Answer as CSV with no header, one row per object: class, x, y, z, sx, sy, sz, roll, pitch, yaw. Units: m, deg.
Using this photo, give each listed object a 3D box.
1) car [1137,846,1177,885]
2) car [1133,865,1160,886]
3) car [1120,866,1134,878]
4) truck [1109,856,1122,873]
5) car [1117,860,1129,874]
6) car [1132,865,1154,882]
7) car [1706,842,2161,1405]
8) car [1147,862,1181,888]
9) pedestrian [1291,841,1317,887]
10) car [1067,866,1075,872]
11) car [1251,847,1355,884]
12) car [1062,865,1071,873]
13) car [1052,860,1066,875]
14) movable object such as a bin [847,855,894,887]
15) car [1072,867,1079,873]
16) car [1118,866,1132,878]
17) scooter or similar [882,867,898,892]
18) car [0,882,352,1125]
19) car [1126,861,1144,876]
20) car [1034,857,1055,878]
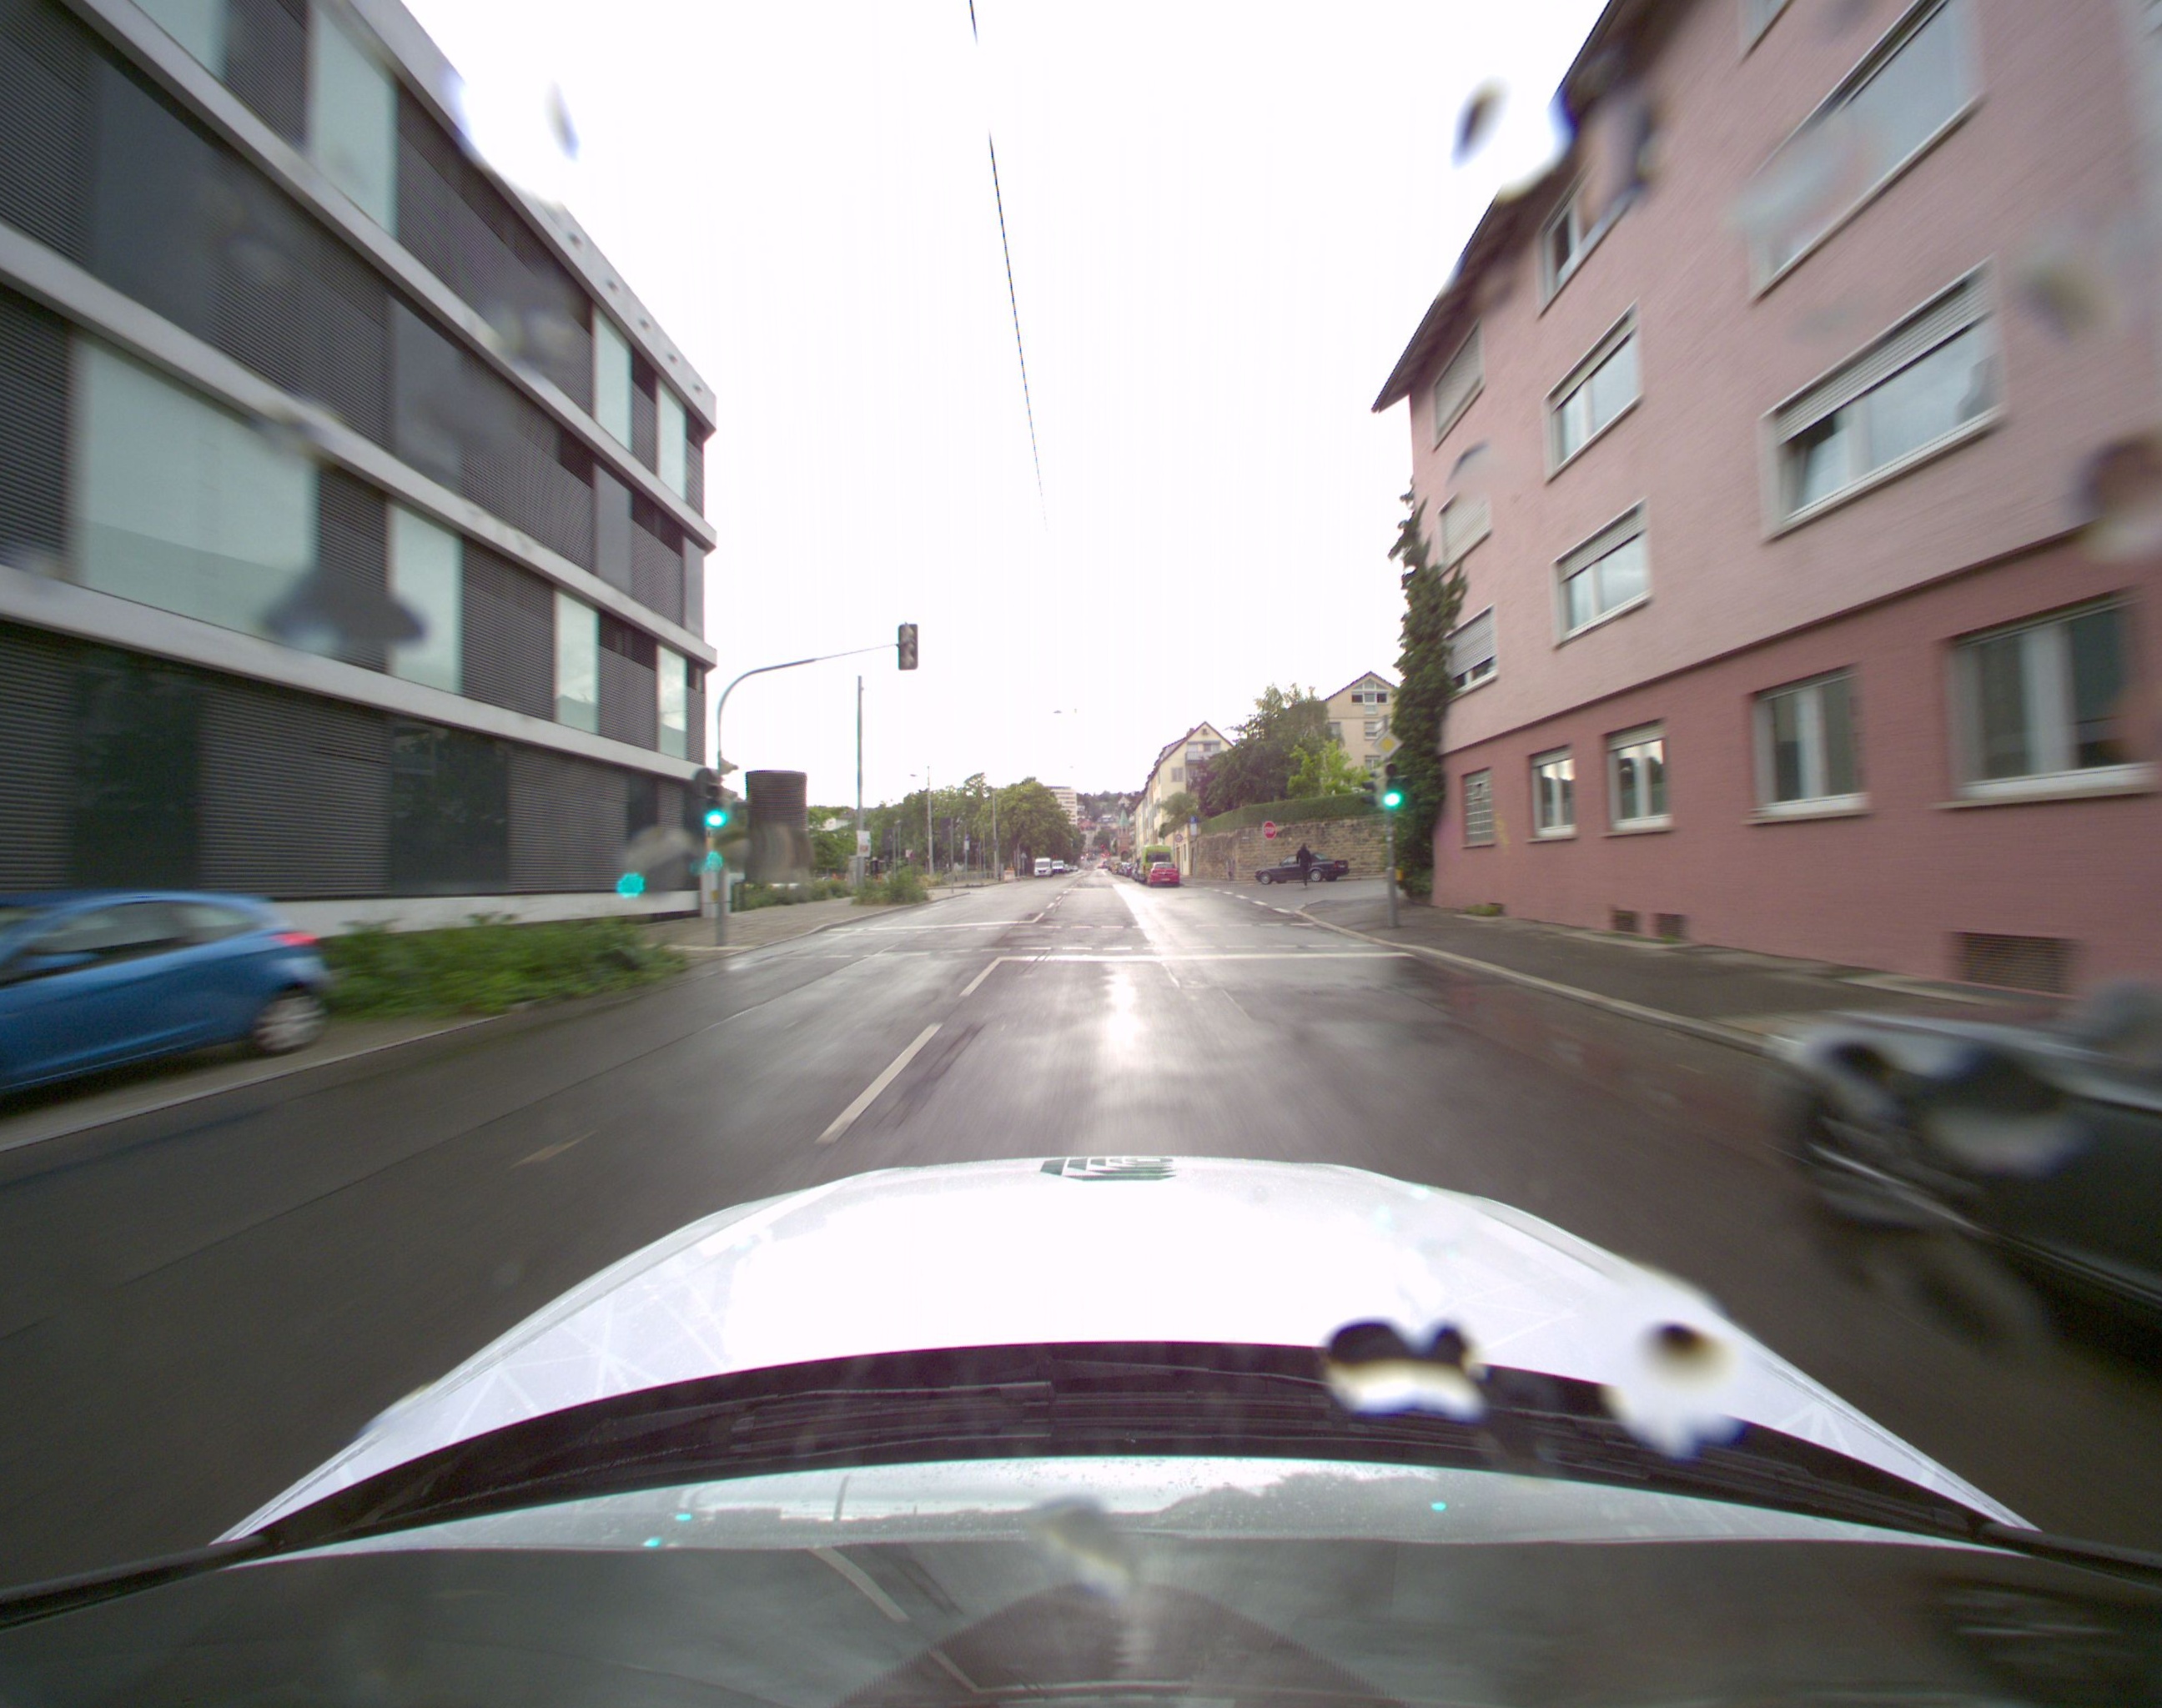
car,4.992,0.733,54.166,2.197,2.463,6.081,0,-1,1
car,4.798,1.554,59.995,1.683,1.454,4.235,0,-1,0
car,5.712,2.184,101.567,1.553,1.454,3.759,0,-1,0
truck,6.927,2.078,162.633,2.460,3.172,7.037,-2,-1,2
car,6.902,2.155,134.114,1.710,2.238,4.000,0,-1,0
car,5.479,1.708,72.243,1.683,1.454,4.235,0,-1,0
car,3.849,0.726,1.550,1.787,1.520,4.510,-2,0,-1
car,4.762,1.202,47.350,1.714,1.421,4.205,0,-1,2
pedestrian,8.584,0.369,31.377,0.720,1.715,0.905,-3,-1,2
car,-2.444,3.679,198.935,1.798,1.451,4.655,-2,-2,-1
car,10.178,0.542,37.606,4.223,1.393,1.763,-6,-3,43
car,-2.799,2.909,158.331,1.677,1.399,3.909,-3,-2,0
car,-3.832,2.349,142.521,2.004,2.487,5.985,-3,-1,2
movable object such as a bin,-16.854,1.372,64.995,1.679,2.459,5.228,-1,-1,-38
car,-1.337,4.227,214.004,1.704,1.451,4.293,-2,-2,0
car,5.744,2.385,107.071,1.710,1.524,4.000,0,-1,0
scooter or similar,-9.868,1.322,42.163,0.494,1.248,1.232,-1,-2,2
car,-7.674,1.009,5.845,1.632,1.466,3.582,-2,0,-1
car,5.431,1.436,82.277,1.624,1.454,3.759,0,-1,0
car,-4.599,1.704,103.712,2.223,2.579,6.536,-3,-1,0
